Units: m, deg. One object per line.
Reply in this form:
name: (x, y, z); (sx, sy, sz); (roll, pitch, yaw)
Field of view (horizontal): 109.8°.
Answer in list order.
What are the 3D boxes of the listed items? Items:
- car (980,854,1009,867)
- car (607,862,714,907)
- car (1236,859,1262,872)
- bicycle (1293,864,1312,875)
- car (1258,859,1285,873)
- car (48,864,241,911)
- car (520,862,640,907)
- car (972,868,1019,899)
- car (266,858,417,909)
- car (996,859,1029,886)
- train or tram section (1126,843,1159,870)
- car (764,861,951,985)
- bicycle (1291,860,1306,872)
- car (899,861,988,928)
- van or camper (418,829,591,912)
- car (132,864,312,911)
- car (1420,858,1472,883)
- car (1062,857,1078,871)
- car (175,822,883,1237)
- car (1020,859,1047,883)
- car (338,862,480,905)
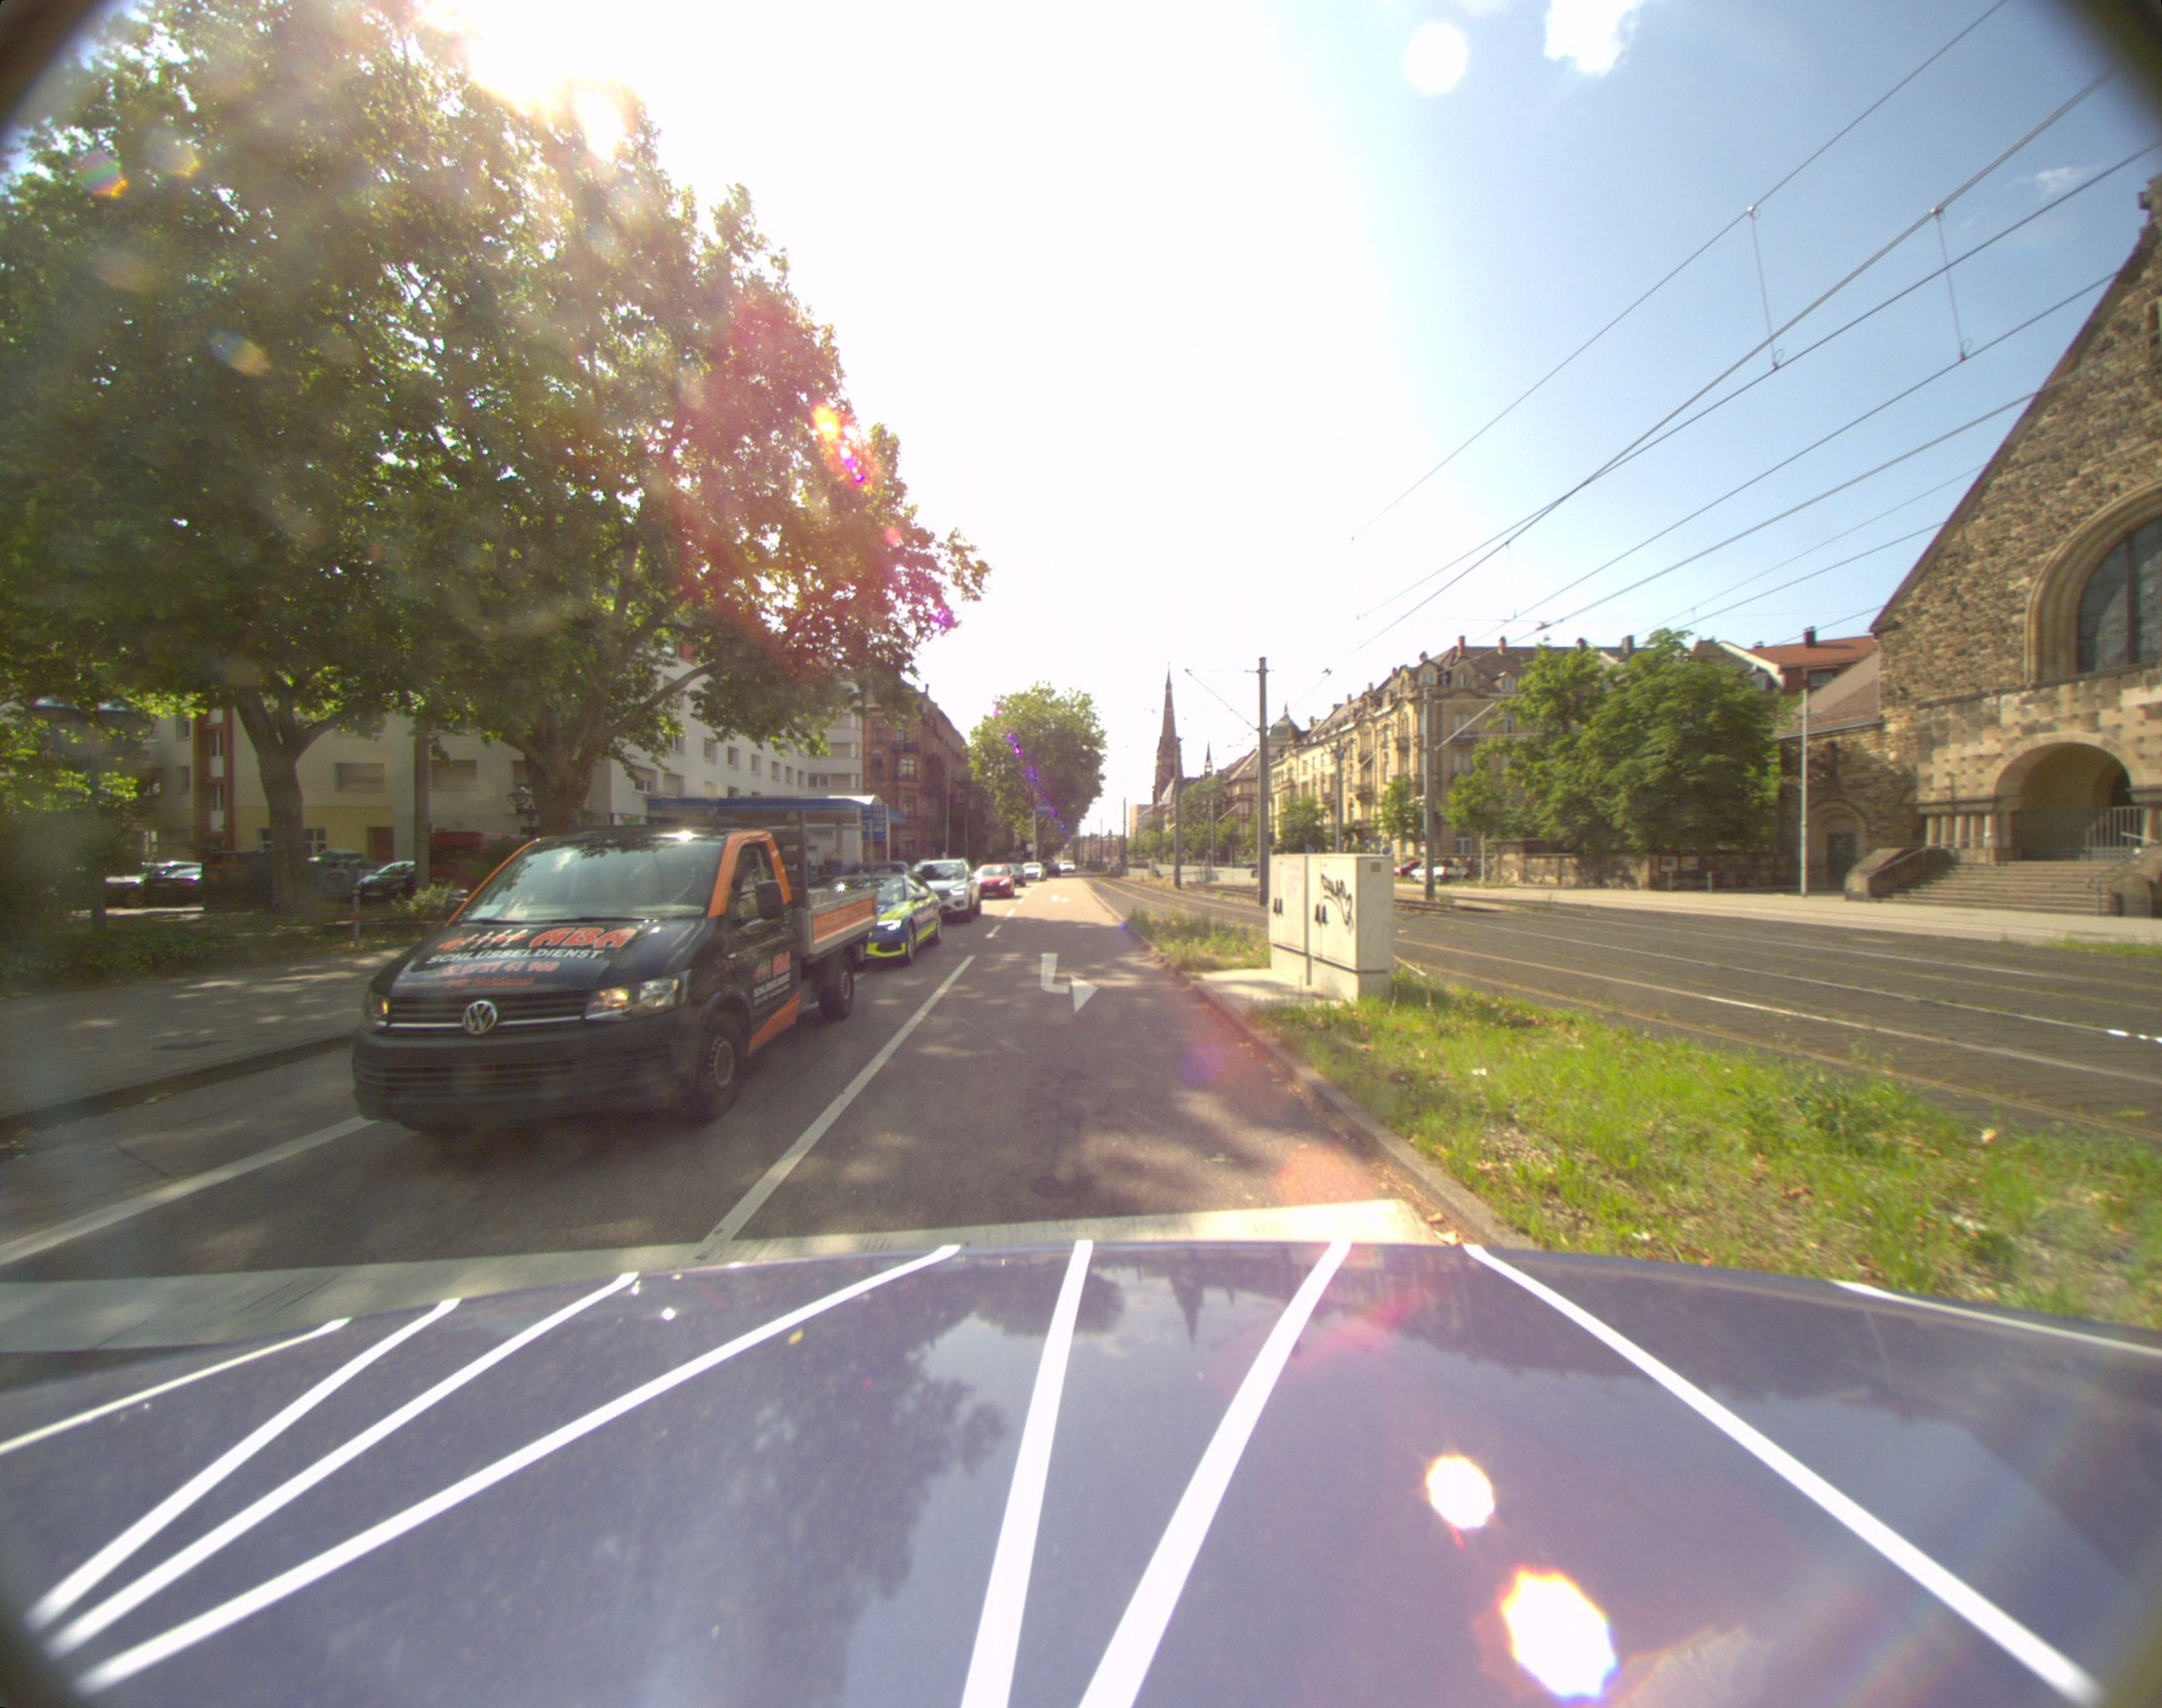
car: (-13.393, 0.996, 117.945); (4.414, 1.907, 1.999); (0, 0, -3)
car: (-15.009, 1.041, 27.392); (1.757, 1.402, 3.999); (-1, 0, -3)
car: (20.528, 1.358, 92.970); (1.803, 1.518, 4.487); (-2, 0, -5)
bicycle: (21.565, 1.470, 73.893); (1.711, 1.063, 0.471); (0, 0, -8)
car: (20.723, 1.310, 82.955); (1.690, 1.493, 4.707); (0, 0, -1)
car: (-32.186, 1.101, 26.320); (1.767, 1.356, 3.999); (-3, 0, -3)
car: (-17.734, 1.031, 27.153); (1.757, 1.402, 3.999); (-1, 0, -3)
car: (-3.588, 1.234, 32.558); (1.620, 1.182, 3.633); (0, 0, 0)
car: (-26.105, 0.989, 27.029); (1.530, 1.594, 3.999); (-2, 0, -3)
car: (-4.064, 1.103, 45.767); (1.765, 1.490, 4.186); (0, 0, -2)
train or tram section: (8.398, 0.365, 104.967); (2.861, 3.559, 12.831); (0, 0, -3)
car: (-3.619, 1.007, 13.400); (1.872, 1.642, 5.152); (-2, 0, -2)
bicycle: (24.161, 1.286, 84.312); (0.659, 1.241, 2.942); (-3, 0, -2)
car: (-3.690, 1.026, 21.163); (1.765, 1.597, 4.678); (0, 0, -2)
van or camper: (-20.603, 0.530, 27.554); (2.107, 2.626, 5.349); (-3, 0, 0)
car: (-29.694, 1.102, 26.467); (1.767, 1.356, 3.999); (-3, 0, -3)
car: (22.376, 0.994, 46.745); (1.671, 1.408, 3.846); (2, 0, 7)
car: (-1.322, 1.180, 90.924); (1.765, 1.490, 4.186); (0, 0, -2)
car: (-3.309, 0.773, 6.314); (2.080, 1.975, 5.333); (0, 2, -2)
car: (-3.585, 1.250, 58.137); (1.952, 1.598, 5.074); (0, 2, -2)
car: (-23.414, 0.964, 26.687); (1.478, 1.286, 3.999); (-3, 0, -3)
